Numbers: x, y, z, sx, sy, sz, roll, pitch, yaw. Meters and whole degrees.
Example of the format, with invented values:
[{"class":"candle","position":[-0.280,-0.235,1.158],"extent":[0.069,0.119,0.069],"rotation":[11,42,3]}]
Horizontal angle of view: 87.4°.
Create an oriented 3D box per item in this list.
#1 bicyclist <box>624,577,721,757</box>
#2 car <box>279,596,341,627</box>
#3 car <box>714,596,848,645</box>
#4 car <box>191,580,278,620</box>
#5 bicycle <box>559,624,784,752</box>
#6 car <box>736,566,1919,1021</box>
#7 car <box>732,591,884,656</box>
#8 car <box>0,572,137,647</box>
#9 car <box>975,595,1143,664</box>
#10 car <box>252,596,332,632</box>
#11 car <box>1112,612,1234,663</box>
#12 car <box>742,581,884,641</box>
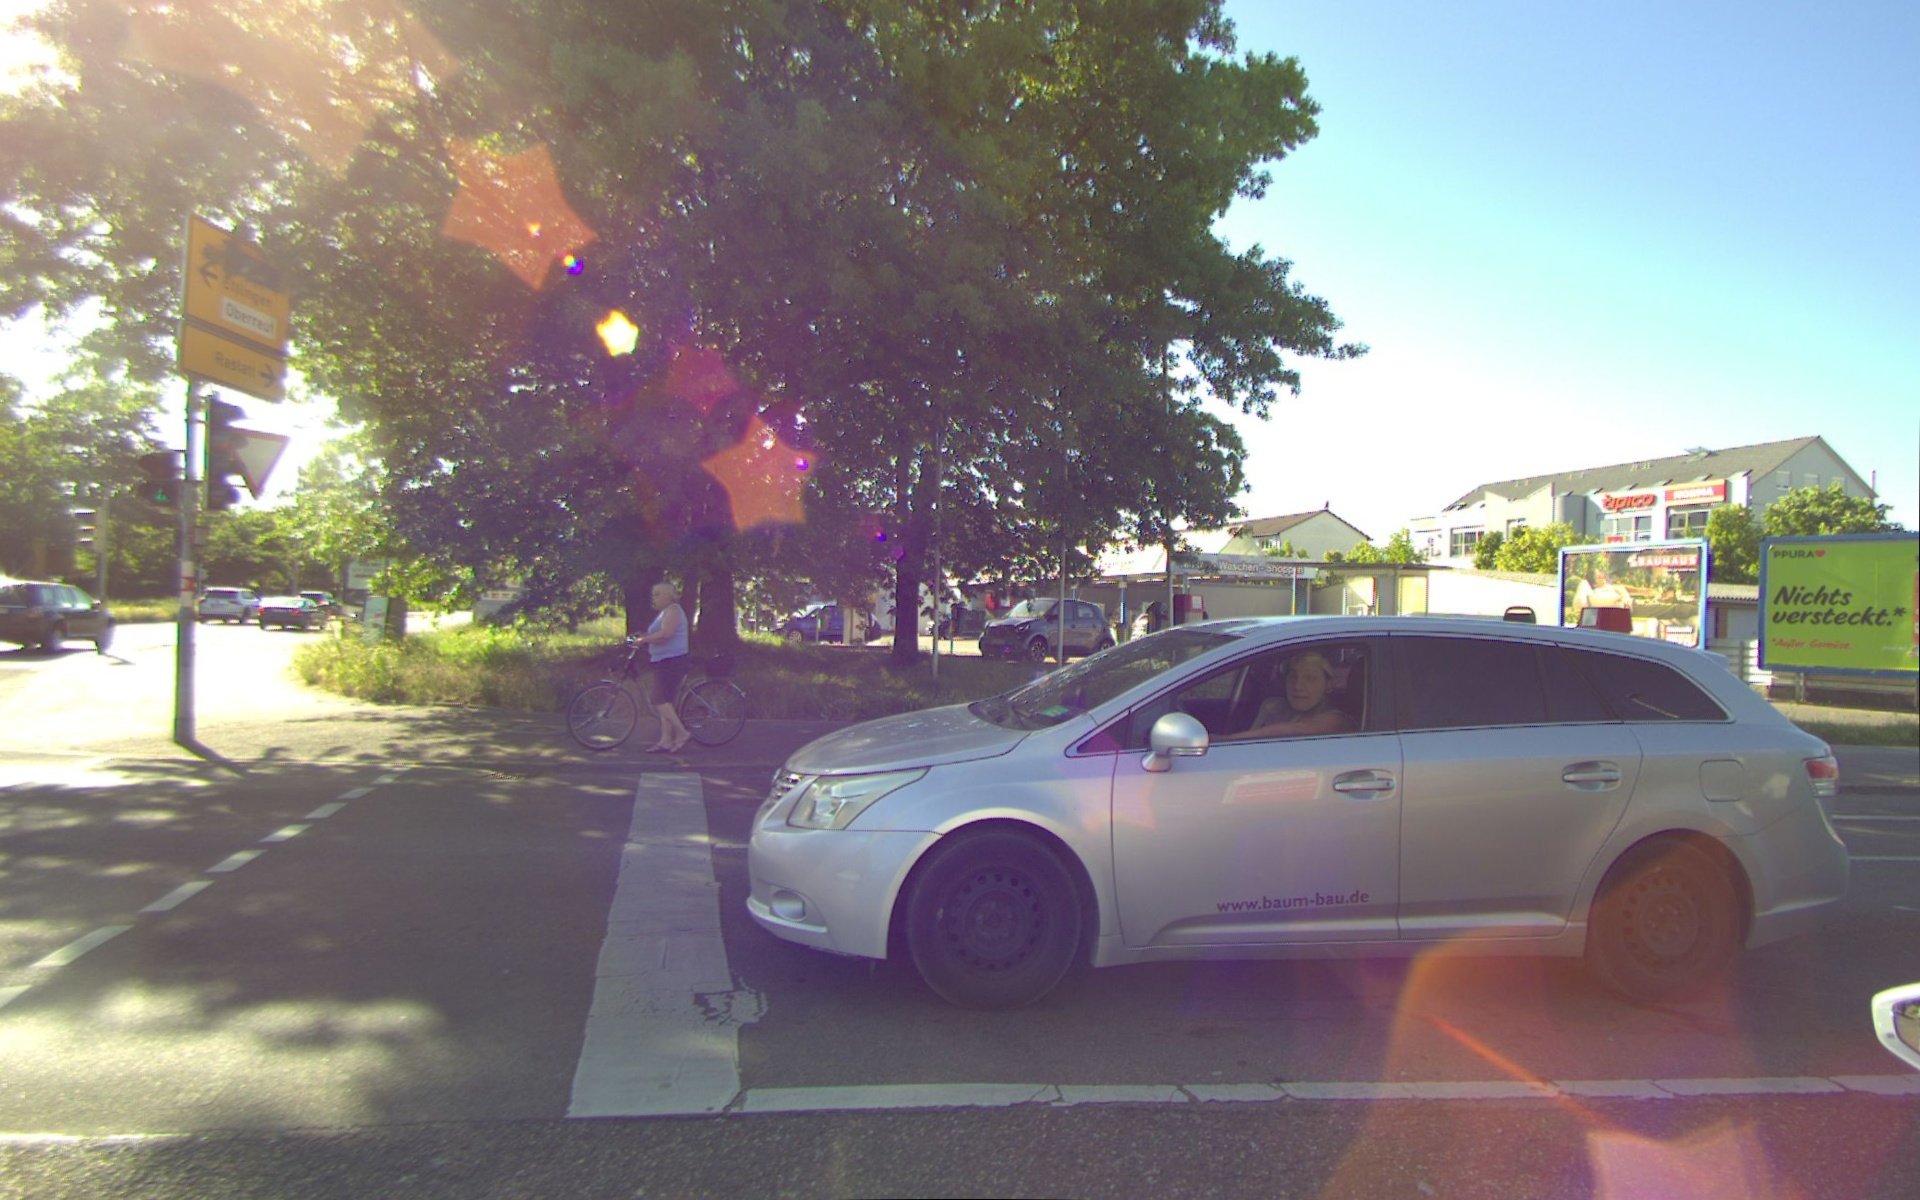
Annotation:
[{"class":"bicyclist","position":[-2.735,0.631,9.613],"extent":[0.815,1.663,0.541],"rotation":[2,-1,-12]},{"class":"car","position":[-38.537,0.693,59.670],"extent":[1.887,1.674,4.347],"rotation":[4,-2,-18]},{"class":"car","position":[-5.930,0.683,33.423],"extent":[3.962,1.352,1.781],"rotation":[5,-2,-36]},{"class":"car","position":[-34.401,0.022,47.788],"extent":[1.918,1.674,4.349],"rotation":[4,-2,-16]},{"class":"bicycle","position":[-2.715,0.840,9.620],"extent":[1.991,1.157,0.528],"rotation":[2,-1,-12]},{"class":"car","position":[1.532,0.742,4.598],"extent":[4.800,1.508,1.840],"rotation":[2,-2,-8]},{"class":"car","position":[-5.975,0.944,39.462],"extent":[5.567,2.126,1.992],"rotation":[4,-2,-19]},{"class":"car","position":[-22.998,0.228,25.382],"extent":[1.799,1.706,4.375],"rotation":[3,-2,-17]},{"class":"car","position":[2.432,0.728,24.017],"extent":[3.972,1.394,1.738],"rotation":[5,-2,-42]},{"class":"car","position":[-29.547,0.605,44.593],"extent":[1.815,1.413,4.346],"rotation":[4,-2,-19]},{"class":"car","position":[7.905,1.381,37.372],"extent":[3.940,1.628,1.991],"rotation":[4,-2,-20]},{"class":"car","position":[-4.473,0.351,30.705],"extent":[3.952,1.531,1.521],"rotation":[5,-2,-28]}]
